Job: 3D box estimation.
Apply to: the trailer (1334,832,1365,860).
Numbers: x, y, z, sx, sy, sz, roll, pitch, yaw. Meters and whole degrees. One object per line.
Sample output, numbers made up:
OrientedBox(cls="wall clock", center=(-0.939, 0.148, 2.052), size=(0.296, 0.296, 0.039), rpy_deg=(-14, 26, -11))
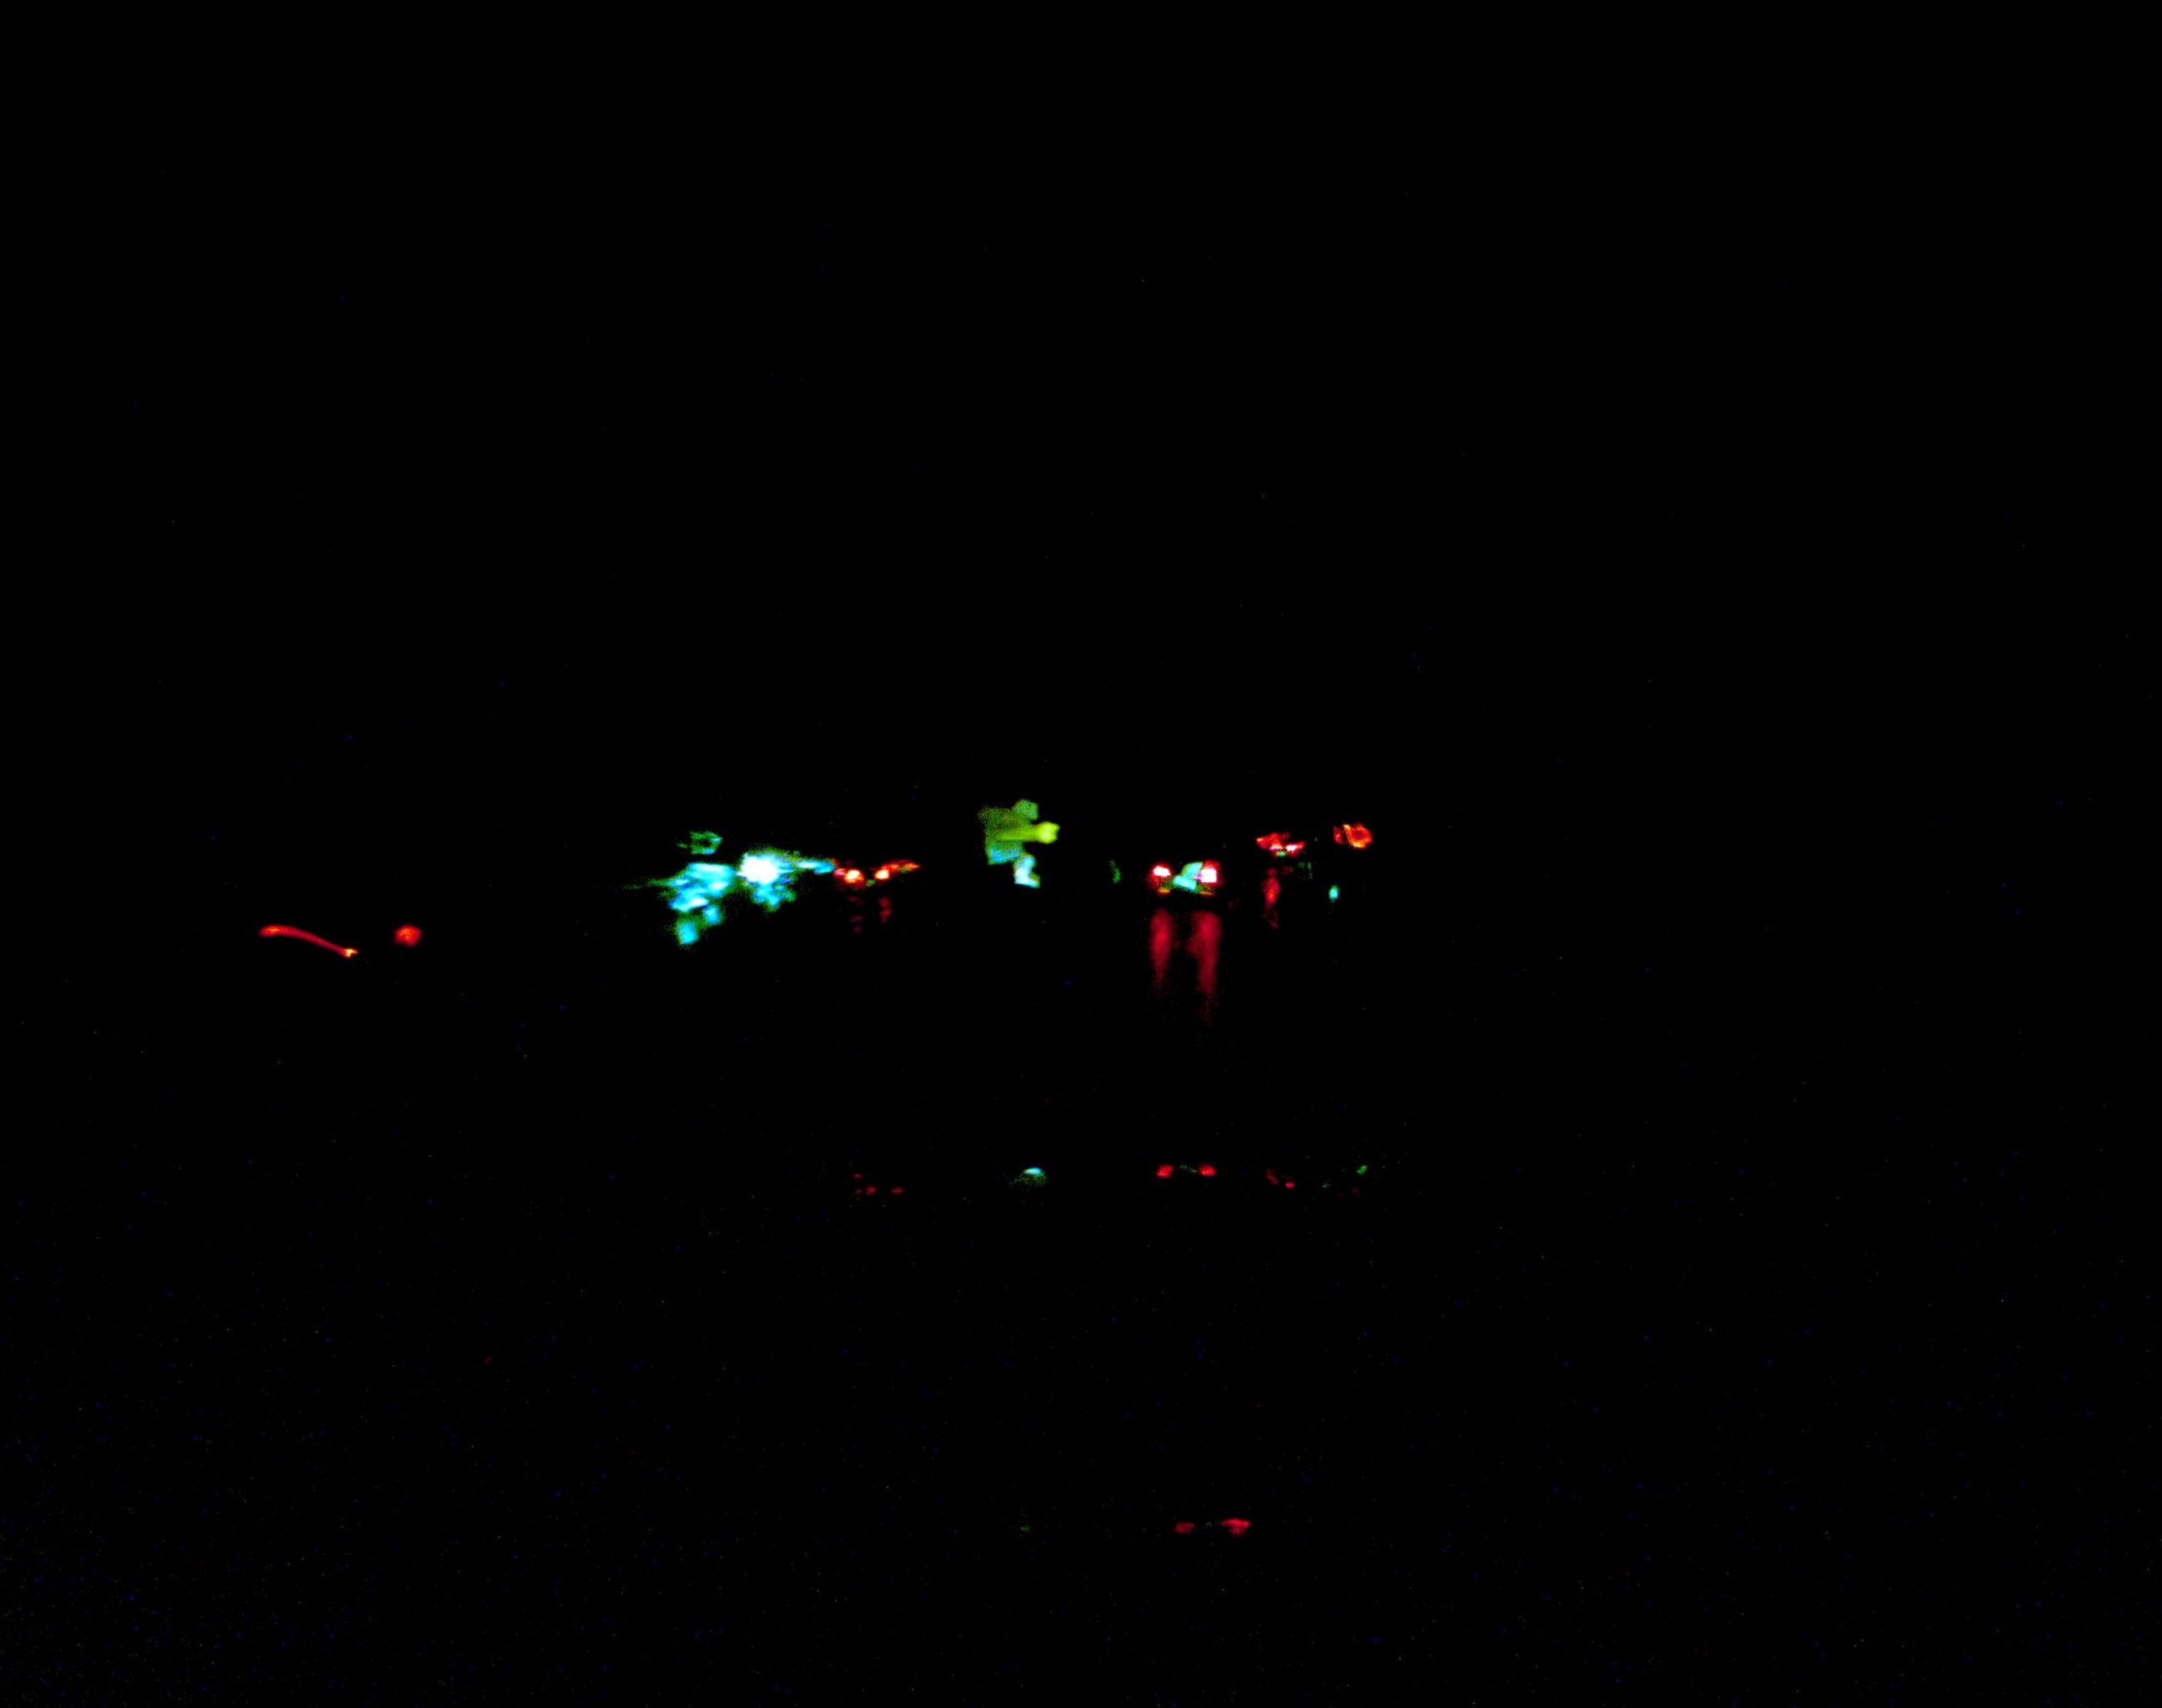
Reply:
OrientedBox(cls="trailer", center=(22.548, -0.593, 68.050), size=(2.061, 2.014, 10.700), rpy_deg=(-3, -1, 20))

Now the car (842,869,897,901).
OrientedBox(cls="car", center=(-9.767, 1.407, 37.859), size=(1.961, 1.380, 4.038), rpy_deg=(-2, -1, -8))

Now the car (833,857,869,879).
OrientedBox(cls="car", center=(-17.481, 1.071, 62.047), size=(1.766, 1.517, 4.903), rpy_deg=(-2, 0, -6))

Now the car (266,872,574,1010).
OrientedBox(cls="car", center=(-9.691, 1.157, 12.398), size=(1.647, 1.575, 3.843), rpy_deg=(-4, 0, -4))

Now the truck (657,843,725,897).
OrientedBox(cls="truck", center=(-31.085, 1.254, 65.260), size=(3.404, 3.973, 7.420), rpy_deg=(-2, 0, -15))
